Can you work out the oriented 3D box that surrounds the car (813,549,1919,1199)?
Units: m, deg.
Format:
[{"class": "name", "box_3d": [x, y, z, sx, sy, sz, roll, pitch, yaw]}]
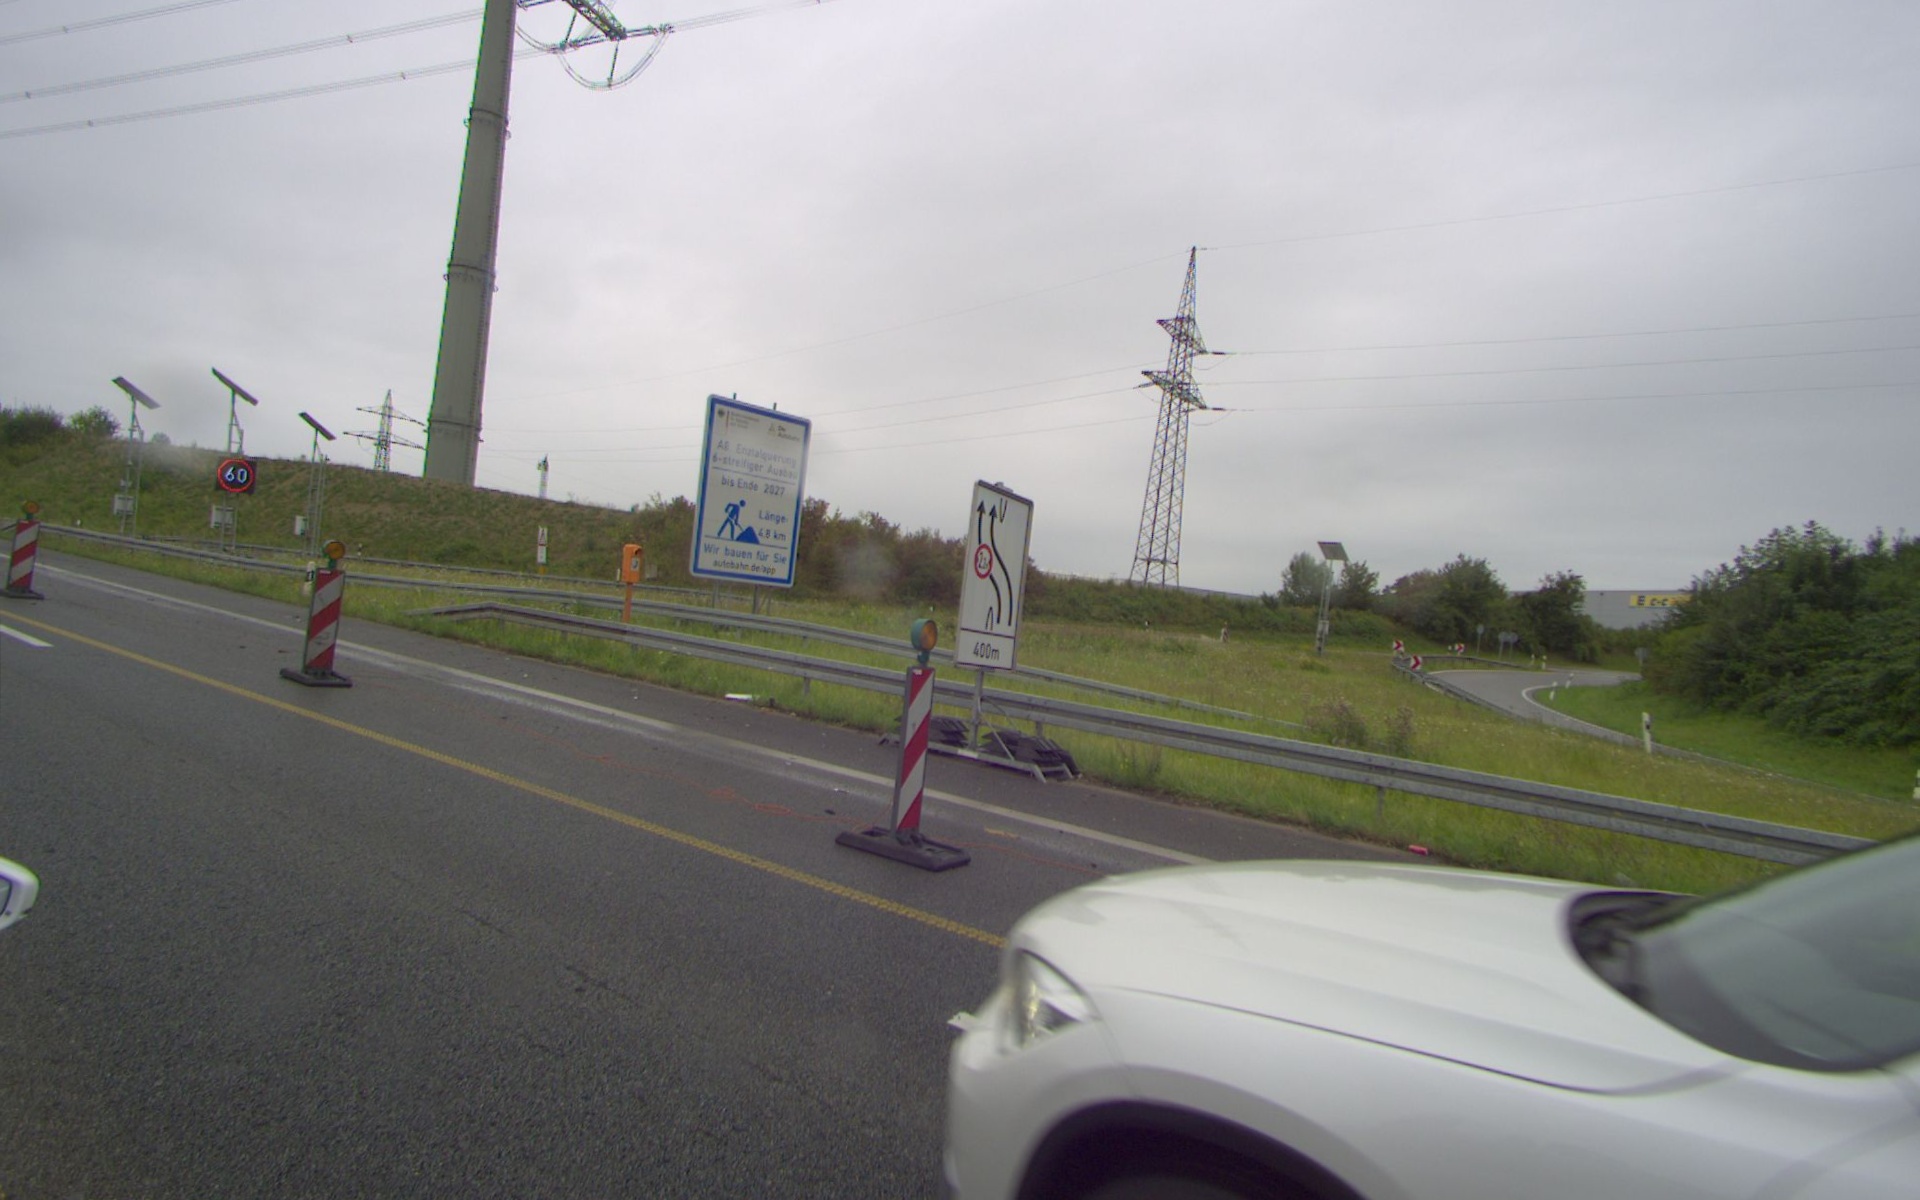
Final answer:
[{"class": "car", "box_3d": [1.978, 0.949, 1.616, 4.129, 1.553, 1.872, 7, -1, 34]}]
